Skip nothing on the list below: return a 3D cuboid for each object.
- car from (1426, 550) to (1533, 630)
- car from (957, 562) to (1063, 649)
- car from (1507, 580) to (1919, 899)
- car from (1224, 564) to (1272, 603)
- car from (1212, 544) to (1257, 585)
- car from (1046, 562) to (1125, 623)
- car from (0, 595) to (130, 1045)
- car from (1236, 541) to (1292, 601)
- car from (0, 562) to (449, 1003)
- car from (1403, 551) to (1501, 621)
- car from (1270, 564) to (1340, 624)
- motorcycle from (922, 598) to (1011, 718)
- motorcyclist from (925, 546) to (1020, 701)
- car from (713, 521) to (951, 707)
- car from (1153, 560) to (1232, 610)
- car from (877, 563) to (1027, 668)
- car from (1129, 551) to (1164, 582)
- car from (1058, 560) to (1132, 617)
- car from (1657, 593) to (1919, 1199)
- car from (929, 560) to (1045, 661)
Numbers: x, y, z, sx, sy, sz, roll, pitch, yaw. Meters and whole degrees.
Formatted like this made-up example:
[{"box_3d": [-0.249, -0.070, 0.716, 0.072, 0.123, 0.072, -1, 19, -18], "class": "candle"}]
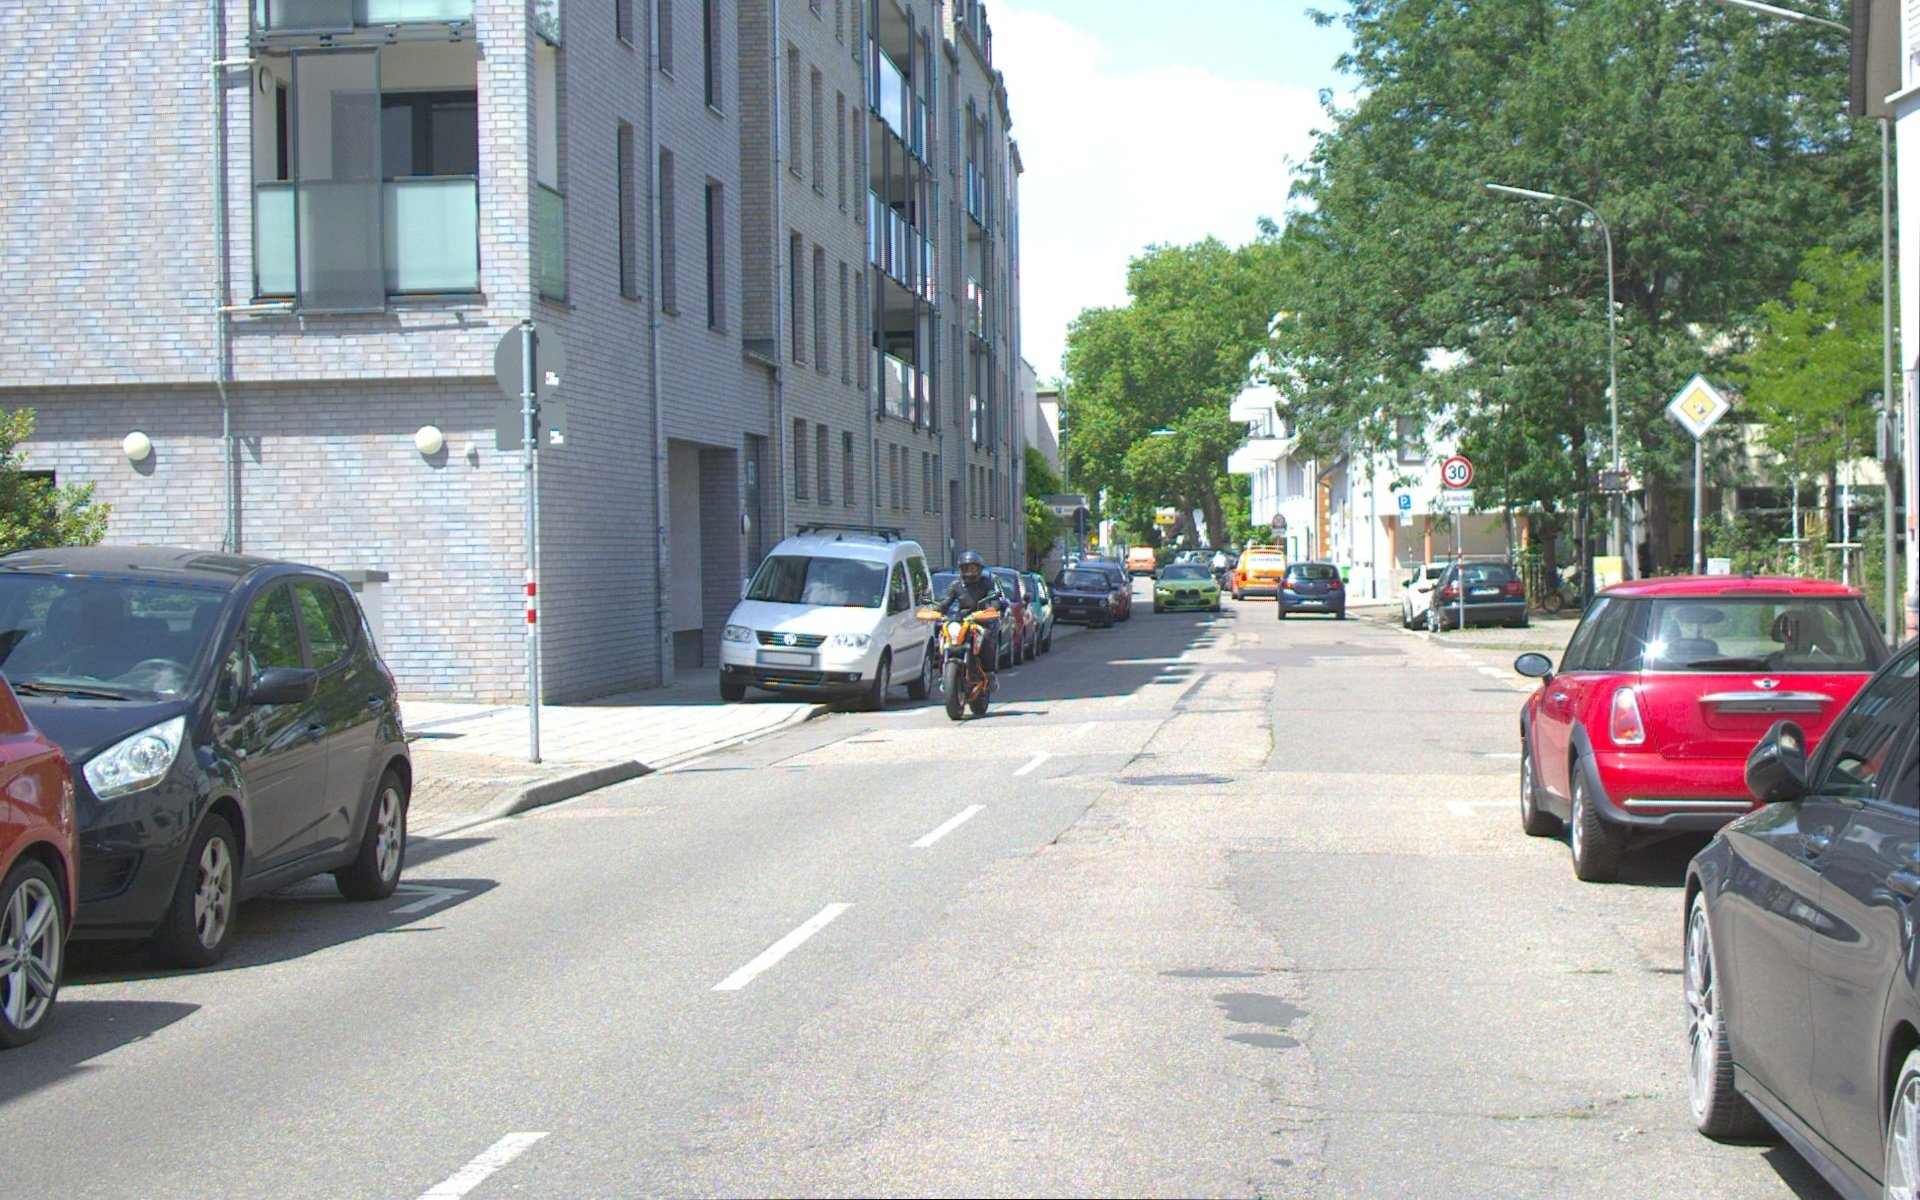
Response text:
[{"box_3d": [10.134, -0.215, 67.291, 1.692, 1.415, 3.999, -4, 0, 4], "class": "car"}, {"box_3d": [0.911, 0.079, 60.548, 1.591, 1.451, 3.703, 1, 1, 5], "class": "car"}, {"box_3d": [3.736, 0.620, 17.233, 1.619, 1.381, 3.538, -1, 1, 4], "class": "car"}, {"box_3d": [12.516, -0.730, 149.371, 1.994, 1.612, 4.000, -1, 1, 4], "class": "car"}, {"box_3d": [11.231, -1.465, 140.685, 1.711, 1.628, 3.704, -1, 1, 3], "class": "car"}, {"box_3d": [3.133, -0.206, 85.275, 1.732, 1.437, 3.999, -1, 1, 5], "class": "car"}, {"box_3d": [-4.103, 0.731, 9.980, 1.834, 1.412, 4.288, -1, 1, 8], "class": "car"}, {"box_3d": [10.584, -1.021, 119.623, 1.839, 2.007, 3.999, -1, 1, 6], "class": "car"}, {"box_3d": [-3.602, 0.661, 14.942, 1.795, 1.641, 3.944, 0, 1, 6], "class": "car"}, {"box_3d": [10.501, -0.318, 73.554, 1.779, 1.415, 3.999, -1, 1, 4], "class": "car"}, {"box_3d": [8.763, -0.171, 87.343, 1.716, 1.397, 3.999, -1, 1, 6], "class": "car"}, {"box_3d": [0.076, 0.560, 34.155, 0.688, 1.118, 2.027, -1, 1, 5], "class": "motorcycle"}, {"box_3d": [0.135, 0.223, 34.129, 0.822, 1.504, 1.056, -1, 1, 5], "class": "motorcyclist"}, {"box_3d": [-1.334, 0.102, 37.742, 1.758, 1.885, 4.335, 1, 1, 9], "class": "car"}, {"box_3d": [6.741, -0.444, 99.293, 1.994, 1.376, 4.391, 1, 1, 8], "class": "car"}, {"box_3d": [-0.077, 0.192, 50.244, 1.723, 1.451, 4.004, 0, 1, 7], "class": "car"}, {"box_3d": [12.321, -2.211, 227.267, 2.157, 2.007, 3.999, -1, 1, 5], "class": "car"}, {"box_3d": [3.565, -0.315, 90.329, 1.732, 1.437, 3.999, -1, 1, 5], "class": "car"}, {"box_3d": [2.611, 0.717, 7.241, 1.729, 1.415, 4.544, -1, 1, 5], "class": "car"}, {"box_3d": [0.465, 0.145, 55.273, 1.591, 1.548, 3.570, -1, 1, 5], "class": "car"}]
